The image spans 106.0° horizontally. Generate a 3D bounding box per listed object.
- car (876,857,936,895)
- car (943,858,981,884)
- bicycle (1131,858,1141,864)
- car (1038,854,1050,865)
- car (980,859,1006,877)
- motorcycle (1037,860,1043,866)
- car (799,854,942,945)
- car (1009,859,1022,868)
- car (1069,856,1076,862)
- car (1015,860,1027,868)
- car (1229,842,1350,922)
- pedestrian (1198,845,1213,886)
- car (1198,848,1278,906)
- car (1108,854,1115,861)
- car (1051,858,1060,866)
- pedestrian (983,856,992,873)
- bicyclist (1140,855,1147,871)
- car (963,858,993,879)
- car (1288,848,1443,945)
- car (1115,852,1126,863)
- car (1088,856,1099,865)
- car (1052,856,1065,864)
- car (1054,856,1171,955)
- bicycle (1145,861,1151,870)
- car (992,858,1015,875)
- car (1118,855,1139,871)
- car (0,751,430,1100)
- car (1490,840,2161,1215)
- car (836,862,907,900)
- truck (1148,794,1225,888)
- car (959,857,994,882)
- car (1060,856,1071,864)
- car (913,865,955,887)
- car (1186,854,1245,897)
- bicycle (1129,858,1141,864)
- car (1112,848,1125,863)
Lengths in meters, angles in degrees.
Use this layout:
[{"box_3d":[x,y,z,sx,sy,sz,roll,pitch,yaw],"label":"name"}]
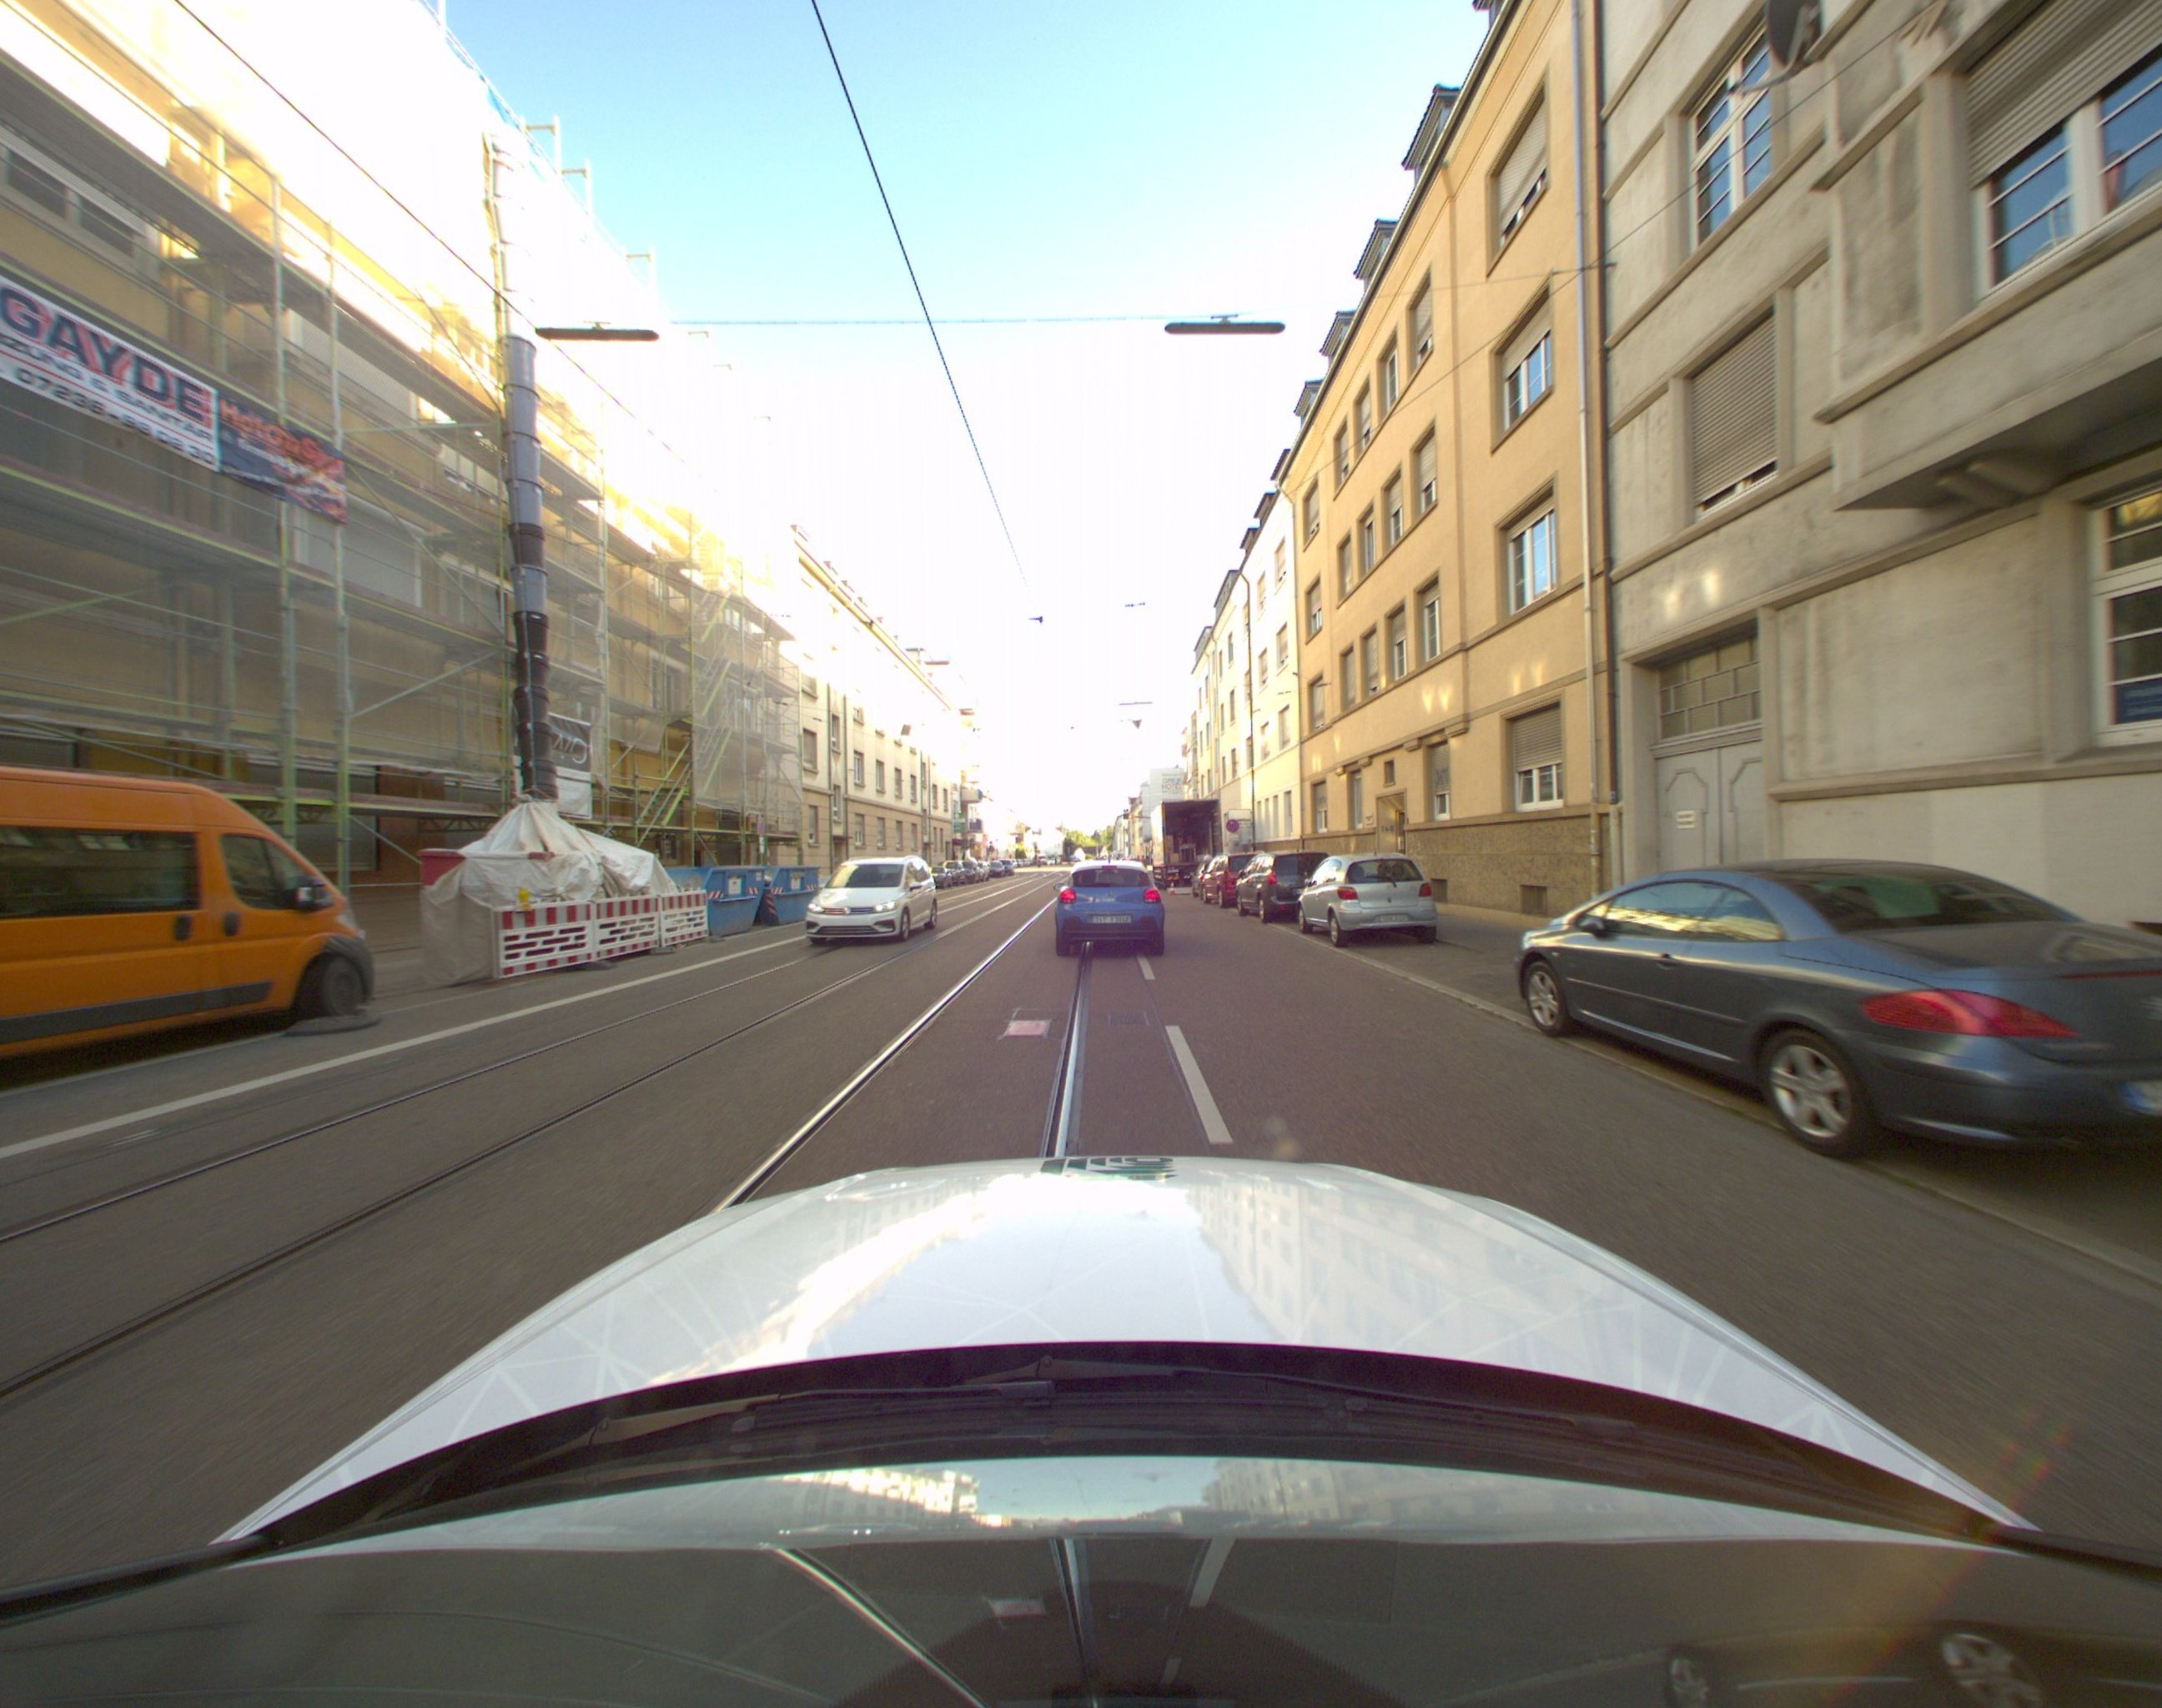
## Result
[{"box_3d":[-8.157,0.989,38.386,1.693,1.568,4.408,-2,0,2],"label":"car"},{"box_3d":[-7.460,1.075,51.400,1.693,1.569,4.001,0,-1,2],"label":"car"},{"box_3d":[8.544,1.065,127.044,1.496,0.957,0.703,-2,0,6],"label":"bicycle"},{"box_3d":[-8.279,1.226,181.966,2.199,2.251,4.677,-2,0,1],"label":"car"},{"box_3d":[-7.714,1.186,71.466,1.693,1.509,4.313,0,-1,2],"label":"car"},{"box_3d":[-6.508,1.470,129.394,0.613,0.864,1.673,-2,0,5],"label":"motorcycle"},{"box_3d":[-4.137,0.824,16.735,1.815,1.568,4.200,-2,0,0],"label":"car"},{"box_3d":[-11.964,1.713,148.526,1.904,1.497,4.000,-2,0,0],"label":"car"},{"box_3d":[-2.402,1.349,231.617,2.014,1.525,4.000,-1,0,0],"label":"car"},{"box_3d":[-11.834,1.894,160.270,1.904,1.497,4.000,-2,0,0],"label":"car"},{"box_3d":[4.964,0.614,20.018,1.784,1.651,4.366,-3,0,0],"label":"car"},{"box_3d":[5.422,0.506,35.480,0.511,1.775,0.416,-2,0,1],"label":"pedestrian"},{"box_3d":[4.888,0.679,25.957,1.587,1.609,4.244,-3,0,-1],"label":"car"},{"box_3d":[7.226,0.847,192.586,1.682,1.618,4.002,0,-1,2],"label":"car"},{"box_3d":[-5.494,1.765,177.190,1.844,1.574,4.399,-1,0,-1],"label":"car"},{"box_3d":[-8.931,1.024,77.490,0.694,1.548,0.722,-1,0,4],"label":"pedestrian"},{"box_3d":[6.264,0.887,81.496,0.723,1.646,0.791,-1,0,4],"label":"bicyclist"},{"box_3d":[-7.717,1.105,61.344,1.693,1.509,4.387,0,-1,1],"label":"car"},{"box_3d":[4.917,0.666,14.545,1.602,1.463,3.481,-3,0,2],"label":"car"},{"box_3d":[6.243,0.603,128.750,1.726,1.750,3.214,0,-1,1],"label":"car"},{"box_3d":[2.295,1.273,150.089,1.986,1.618,4.001,0,-1,1],"label":"car"},{"box_3d":[-4.744,1.188,171.243,1.812,1.640,3.978,-2,0,-16],"label":"car"},{"box_3d":[0.427,0.774,14.136,1.739,1.462,3.997,0,0,-2],"label":"car"},{"box_3d":[6.683,1.125,81.431,0.497,0.864,1.750,-1,0,2],"label":"bicycle"},{"box_3d":[-7.312,1.166,77.083,1.738,1.509,4.001,0,-1,2],"label":"car"},{"box_3d":[4.371,0.779,74.480,1.730,1.420,4.005,-1,0,4],"label":"car"},{"box_3d":[-8.685,0.539,6.384,2.112,2.469,6.003,-2,0,2],"label":"car"},{"box_3d":[4.550,0.696,5.385,1.692,1.452,4.209,-3,0,3],"label":"car"},{"box_3d":[-8.509,1.064,33.408,1.693,1.416,4.001,2,-1,2],"label":"car"},{"box_3d":[5.129,-0.576,41.800,2.848,4.073,11.786,-2,0,3],"label":"truck"},{"box_3d":[-7.124,1.064,55.792,1.693,1.615,4.245,0,-1,2],"label":"car"},{"box_3d":[-2.937,1.071,155.934,1.986,1.508,4.001,-1,0,1],"label":"car"},{"box_3d":[-8.334,1.217,46.413,1.694,1.216,3.785,0,-1,0],"label":"car"},{"box_3d":[5.054,0.760,31.073,1.577,1.463,3.880,-3,0,0],"label":"car"},{"box_3d":[8.536,1.072,128.108,1.864,0.957,0.703,-2,0,5],"label":"bicycle"},{"box_3d":[6.194,0.295,133.690,1.986,2.325,4.001,0,-1,1],"label":"car"}]
